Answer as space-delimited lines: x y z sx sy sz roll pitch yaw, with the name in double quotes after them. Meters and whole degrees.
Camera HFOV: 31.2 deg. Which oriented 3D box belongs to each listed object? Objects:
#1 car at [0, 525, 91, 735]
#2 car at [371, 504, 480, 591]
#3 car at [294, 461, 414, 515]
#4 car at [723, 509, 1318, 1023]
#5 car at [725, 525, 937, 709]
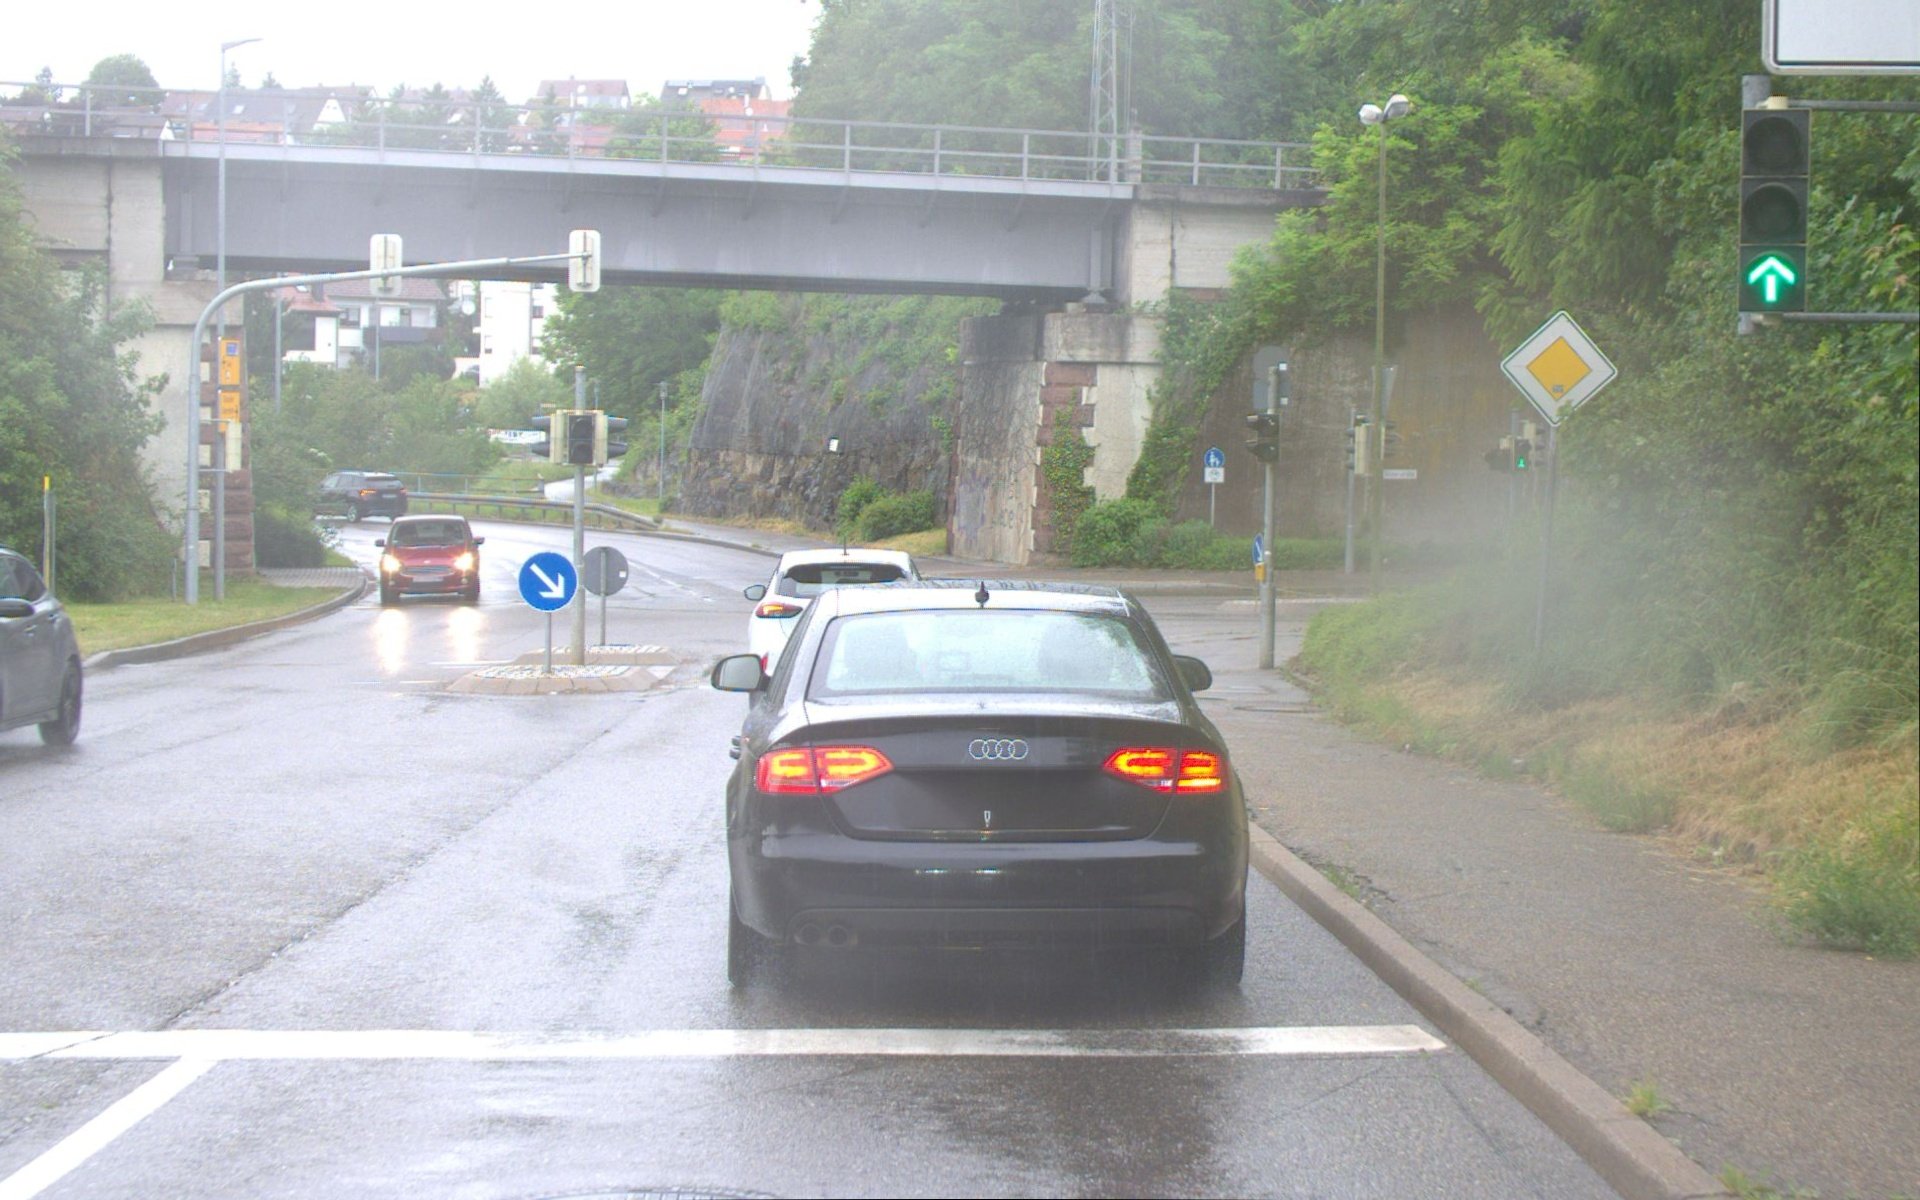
-7.533 0.204 24.639 1.639 1.464 4.000 -1 1 -1 "car"
-10.442 -1.031 67.358 1.993 1.622 4.001 -1 1 -7 "car"
-19.282 -3.571 109.258 1.994 1.590 3.999 -2 4 -40 "car"
0.163 0.524 12.794 1.870 1.611 4.000 0 0 -1 "car"
-1.137 0.149 31.561 1.823 1.579 4.000 0 0 -1 "car"
